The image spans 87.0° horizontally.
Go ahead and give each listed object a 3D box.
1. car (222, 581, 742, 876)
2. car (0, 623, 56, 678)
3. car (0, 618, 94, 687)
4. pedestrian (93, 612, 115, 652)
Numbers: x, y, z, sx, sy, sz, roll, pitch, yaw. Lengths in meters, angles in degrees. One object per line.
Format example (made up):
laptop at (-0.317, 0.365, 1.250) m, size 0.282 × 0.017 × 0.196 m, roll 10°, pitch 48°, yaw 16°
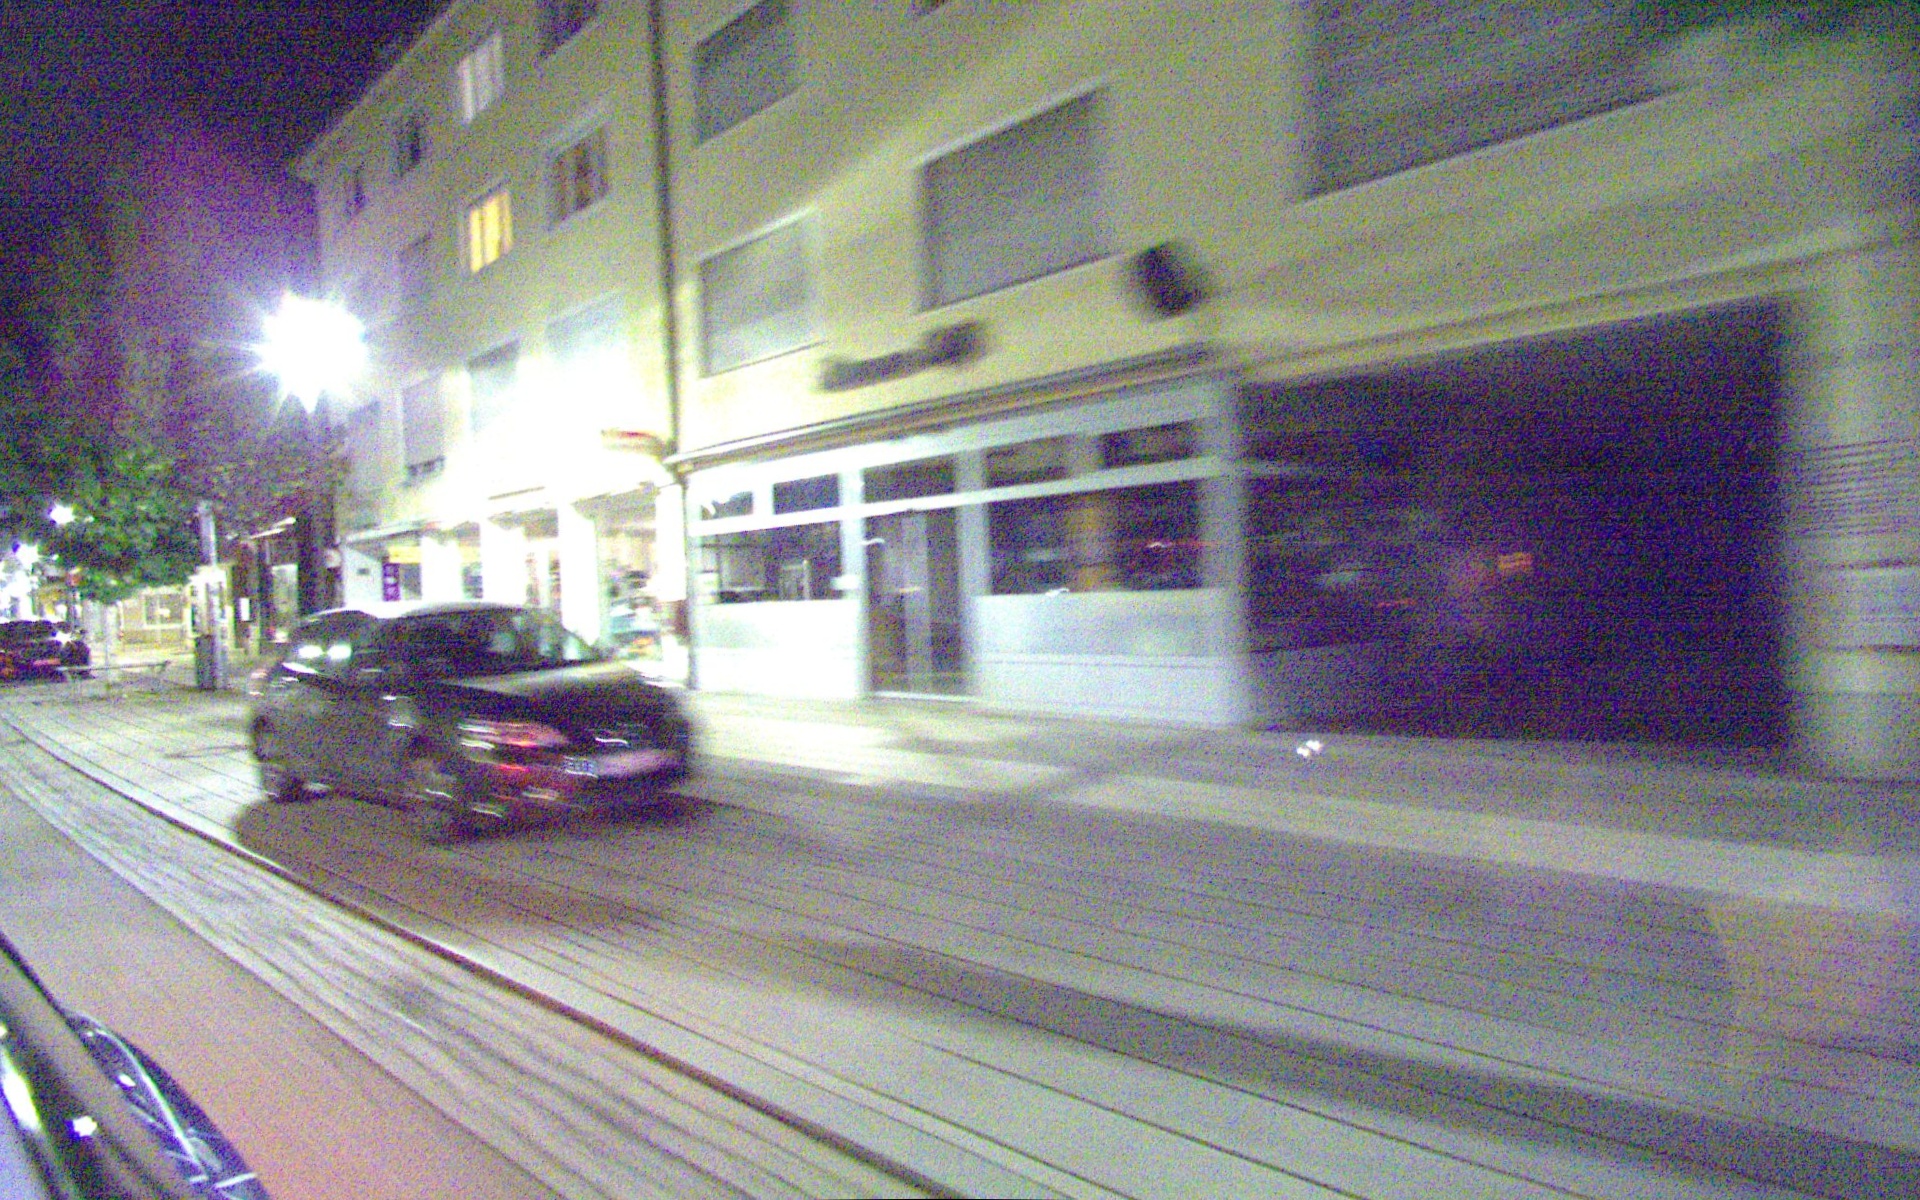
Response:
car at (-3.661, 0.735, 7.418) m, size 4.224 × 1.555 × 1.658 m, roll -2°, pitch 1°, yaw 38°
car at (-28.910, 1.521, 30.791) m, size 3.846 × 1.488 × 1.710 m, roll -2°, pitch 1°, yaw 43°
car at (-24.334, 1.330, 26.408) m, size 5.007 × 1.499 × 1.998 m, roll -2°, pitch 3°, yaw 43°
pedestrian at (-38.508, 1.436, 45.532) m, size 1.023 × 1.758 × 0.614 m, roll -1°, pitch 1°, yaw 44°
